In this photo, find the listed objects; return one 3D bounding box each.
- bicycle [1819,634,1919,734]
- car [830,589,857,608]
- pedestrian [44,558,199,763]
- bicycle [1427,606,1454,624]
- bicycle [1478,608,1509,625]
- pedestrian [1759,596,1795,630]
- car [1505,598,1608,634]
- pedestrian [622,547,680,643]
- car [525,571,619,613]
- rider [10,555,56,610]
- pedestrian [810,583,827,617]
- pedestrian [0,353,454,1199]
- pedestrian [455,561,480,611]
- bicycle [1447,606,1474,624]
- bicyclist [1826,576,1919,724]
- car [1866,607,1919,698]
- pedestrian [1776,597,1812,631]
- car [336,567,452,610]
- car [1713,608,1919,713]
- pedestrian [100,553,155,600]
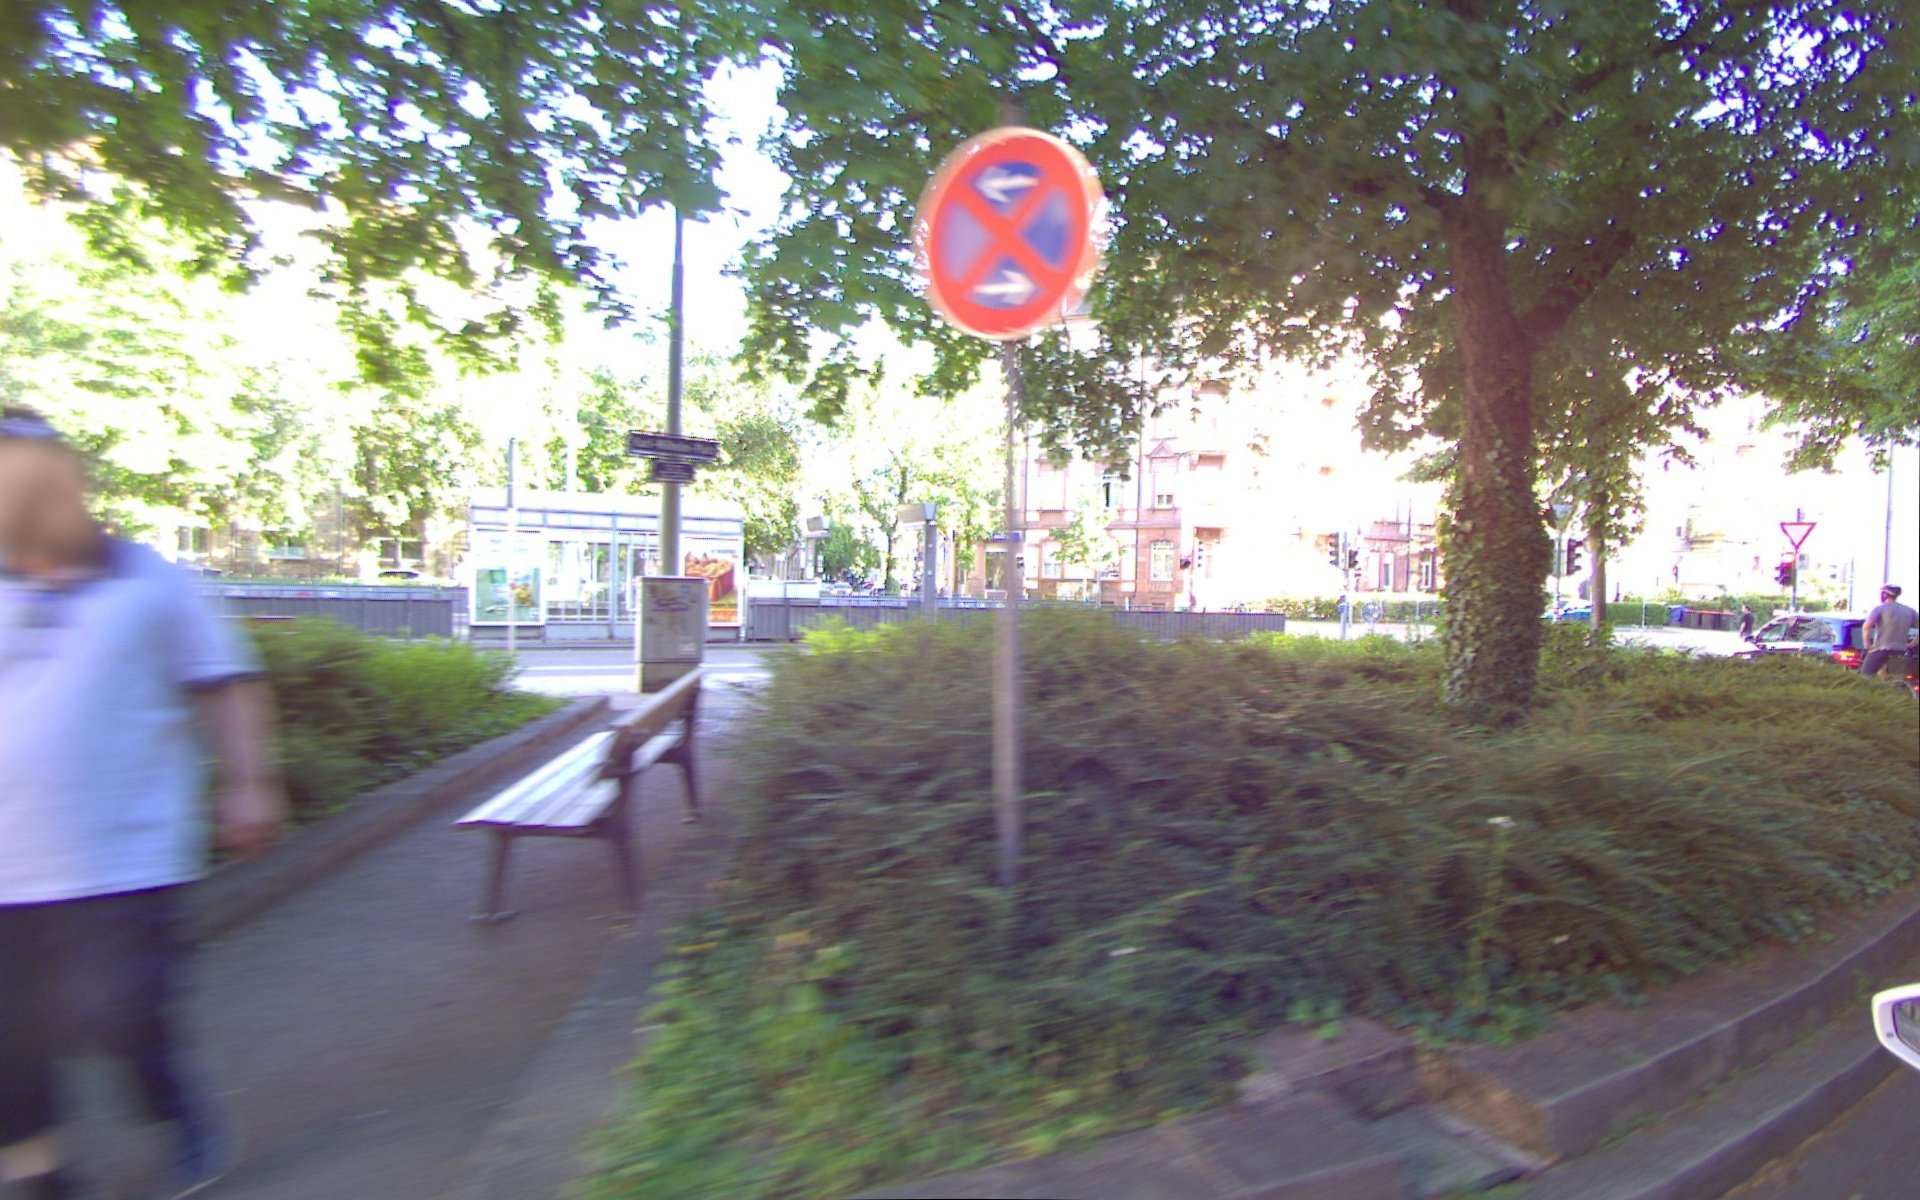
[{"bbox_3d":[12.601,1.107,13.735,0.588,1.177,2.041,2,1,20],"label":"bicycle"},{"bbox_3d":[-10.424,-0.135,90.121,1.730,1.629,4.001,2,1,3],"label":"car"},{"bbox_3d":[-7.463,0.493,8.952,0.883,1.706,0.817,2,2,31],"label":"pedestrian"},{"bbox_3d":[24.930,0.770,52.089,1.201,0.873,0.450,1,1,-8],"label":"bicycle"},{"bbox_3d":[28.316,0.862,53.288,1.420,0.873,0.450,1,1,-8],"label":"bicycle"},{"bbox_3d":[49.562,0.768,60.932,1.370,1.988,1.153,1,1,-27],"label":"pedestrian"},{"bbox_3d":[28.116,0.737,47.348,4.311,1.517,1.989,-1,2,-23],"label":"car"},{"bbox_3d":[-6.415,-0.101,20.833,1.006,1.923,0.906,1,1,-25],"label":"pedestrian"},{"bbox_3d":[-18.336,-0.373,47.496,3.951,1.896,1.985,1,1,-29],"label":"car"},{"bbox_3d":[-30.003,-0.567,32.509,0.805,1.704,0.671,4,1,7],"label":"rider"},{"bbox_3d":[-8.460,0.003,59.862,0.792,2.041,0.566,0,2,-41],"label":"pedestrian"},{"bbox_3d":[-1.735,0.429,2.117,0.900,1.706,0.780,1,1,7],"label":"pedestrian"},{"bbox_3d":[-17.539,-0.489,35.795,0.695,1.717,0.667,3,1,-25],"label":"pedestrian"},{"bbox_3d":[26.091,0.765,52.333,1.201,0.873,0.450,1,1,-8],"label":"bicycle"},{"bbox_3d":[12.612,0.645,13.667,0.836,1.924,1.139,1,1,19],"label":"bicyclist"},{"bbox_3d":[17.777,0.970,17.124,1.860,1.599,4.001,2,1,17],"label":"car"},{"bbox_3d":[49.690,0.813,59.867,1.370,1.988,1.153,1,1,-27],"label":"pedestrian"},{"bbox_3d":[-24.201,-0.480,43.029,1.927,1.702,3.926,3,2,43],"label":"car"},{"bbox_3d":[14.781,0.927,17.071,1.782,1.564,3.960,0,0,15],"label":"car"},{"bbox_3d":[-35.315,-1.003,42.638,1.238,1.937,1.490,2,1,32],"label":"pedestrian"}]
